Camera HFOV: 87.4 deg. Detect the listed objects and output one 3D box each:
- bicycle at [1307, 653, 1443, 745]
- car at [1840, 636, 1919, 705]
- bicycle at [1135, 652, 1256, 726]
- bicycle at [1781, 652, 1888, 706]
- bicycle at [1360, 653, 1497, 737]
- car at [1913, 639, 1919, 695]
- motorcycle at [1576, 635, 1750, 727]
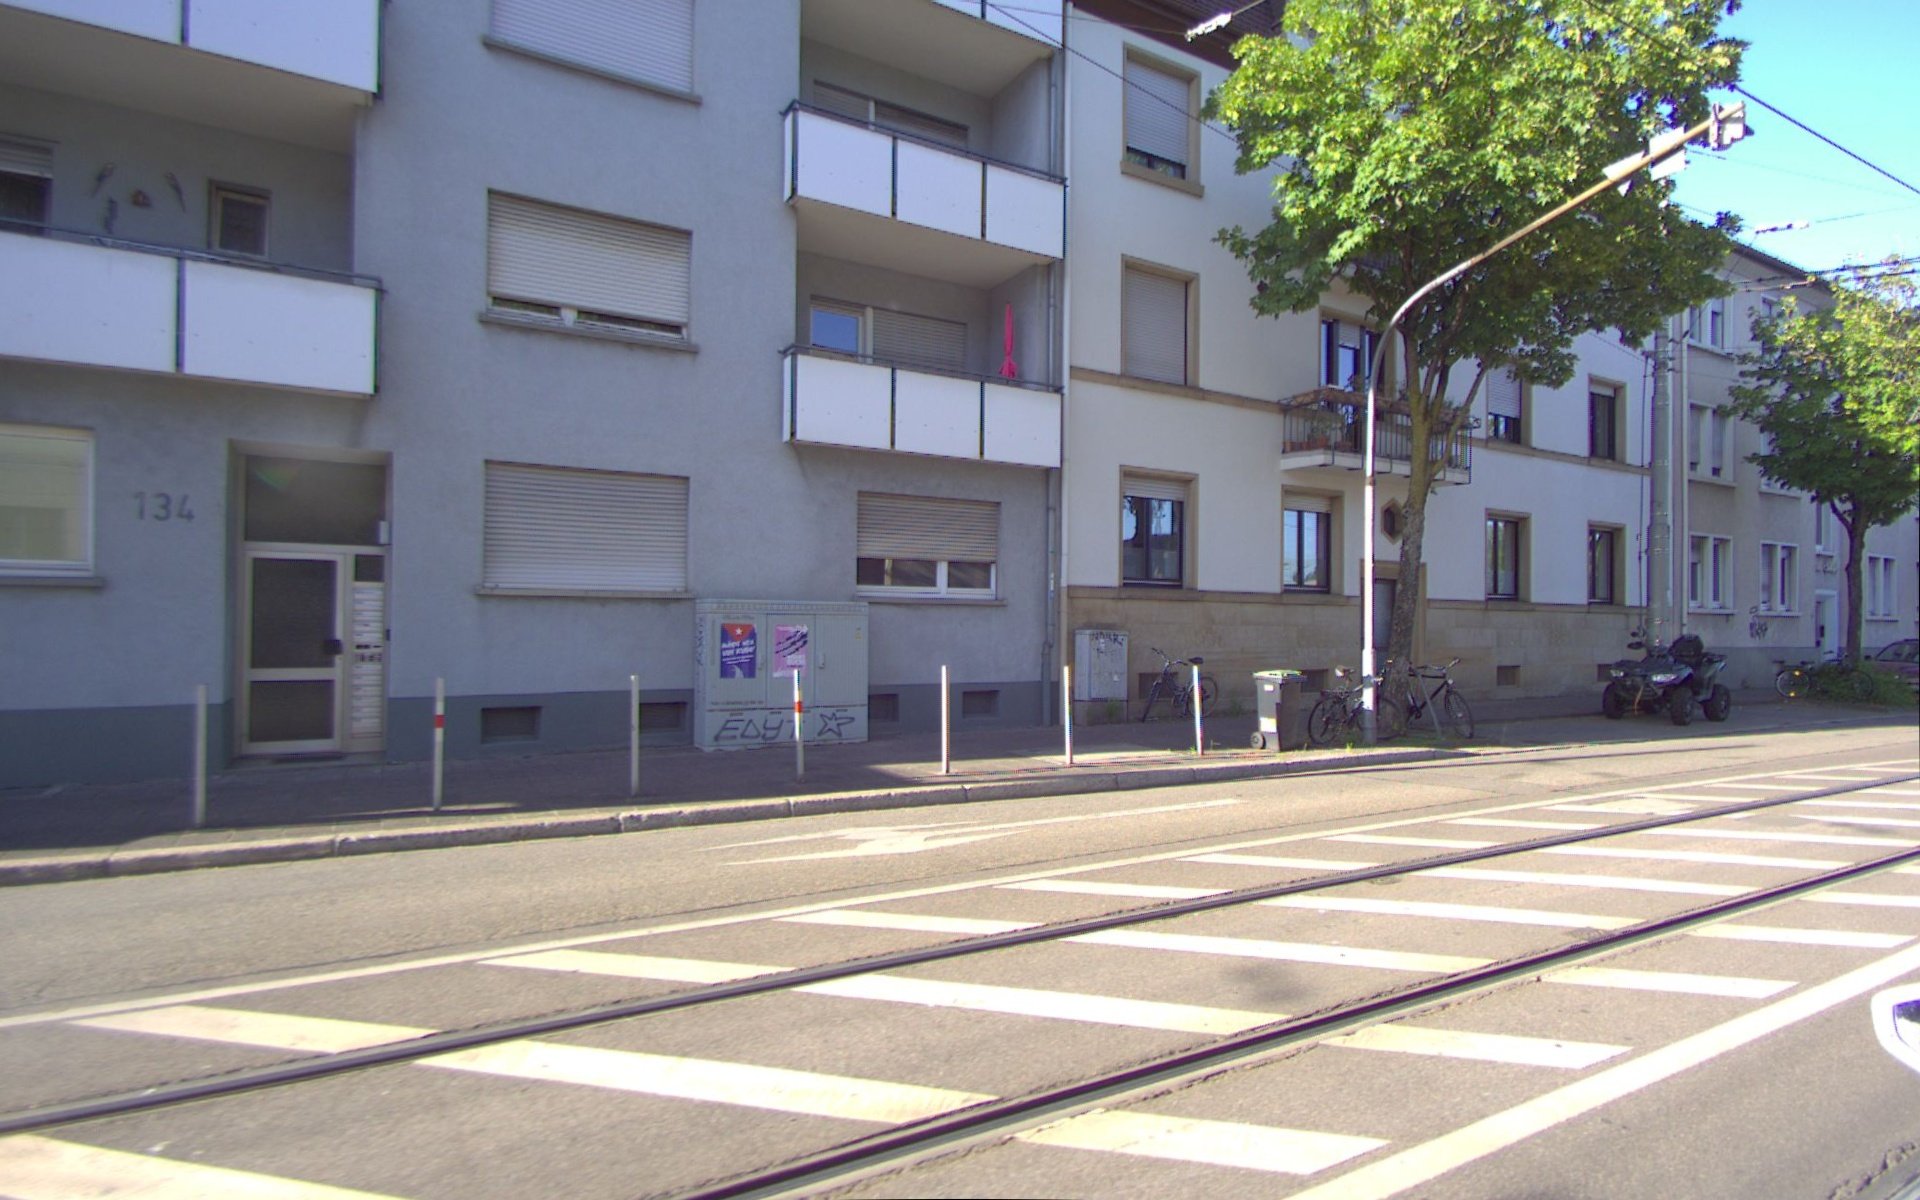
[{"bbox_3d":[5.392,1.262,13.080,1.583,1.058,0.458,1,-1,29],"label":"bicycle"},{"bbox_3d":[22.475,1.608,23.505,3.956,1.505,1.788,1,-2,-33],"label":"car"},{"bbox_3d":[3.547,1.306,15.048,1.996,1.020,0.504,1,-2,-31],"label":"bicycle"},{"bbox_3d":[18.931,1.690,21.797,1.724,1.037,0.606,1,-1,40],"label":"bicycle"},{"bbox_3d":[6.602,1.307,14.210,1.685,1.047,0.442,1,-1,40],"label":"bicycle"},{"bbox_3d":[26.881,1.742,26.233,4.142,1.438,1.945,1,-2,-32],"label":"car"},{"bbox_3d":[12.532,1.379,17.879,3.067,1.501,1.450,1,-2,-32],"label":"motorcycle"}]
